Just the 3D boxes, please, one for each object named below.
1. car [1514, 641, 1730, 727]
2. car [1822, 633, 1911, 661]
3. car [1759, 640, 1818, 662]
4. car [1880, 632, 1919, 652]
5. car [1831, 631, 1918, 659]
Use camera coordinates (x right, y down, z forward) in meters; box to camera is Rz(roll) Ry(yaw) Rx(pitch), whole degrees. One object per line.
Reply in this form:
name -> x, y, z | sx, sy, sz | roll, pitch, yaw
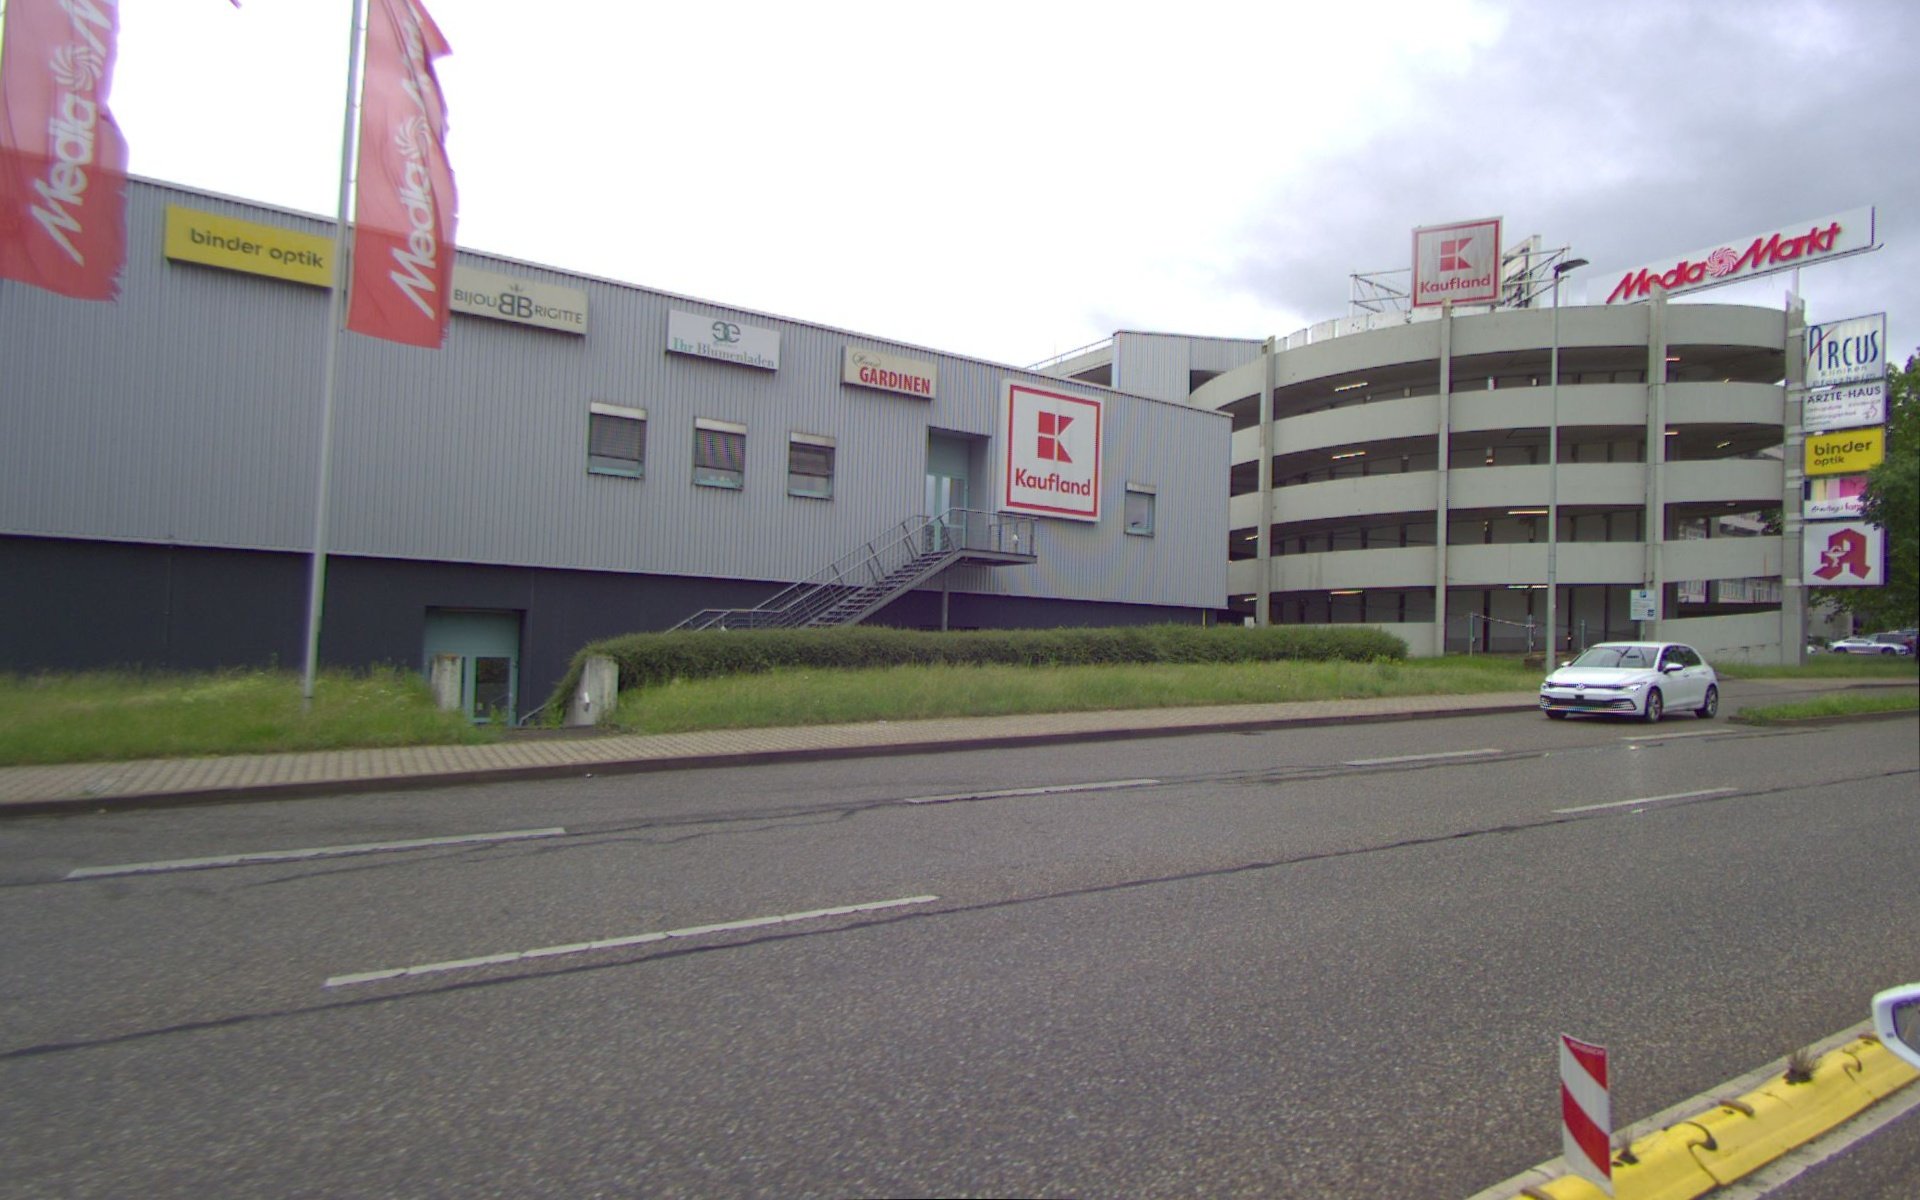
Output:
car -> 12.586, 1.502, 19.028 | 4.378, 1.427, 1.888 | 1, -2, -34
car -> 65.764, 3.388, 72.943 | 1.949, 1.769, 4.563 | 0, 1, -38
car -> 53.759, 3.312, 65.201 | 1.595, 1.383, 2.677 | 0, -2, -37
car -> 77.298, 3.399, 80.759 | 2.004, 1.530, 4.580 | 0, 1, -35
car -> 68.035, 3.327, 74.778 | 2.114, 1.769, 4.563 | 0, 1, -38
